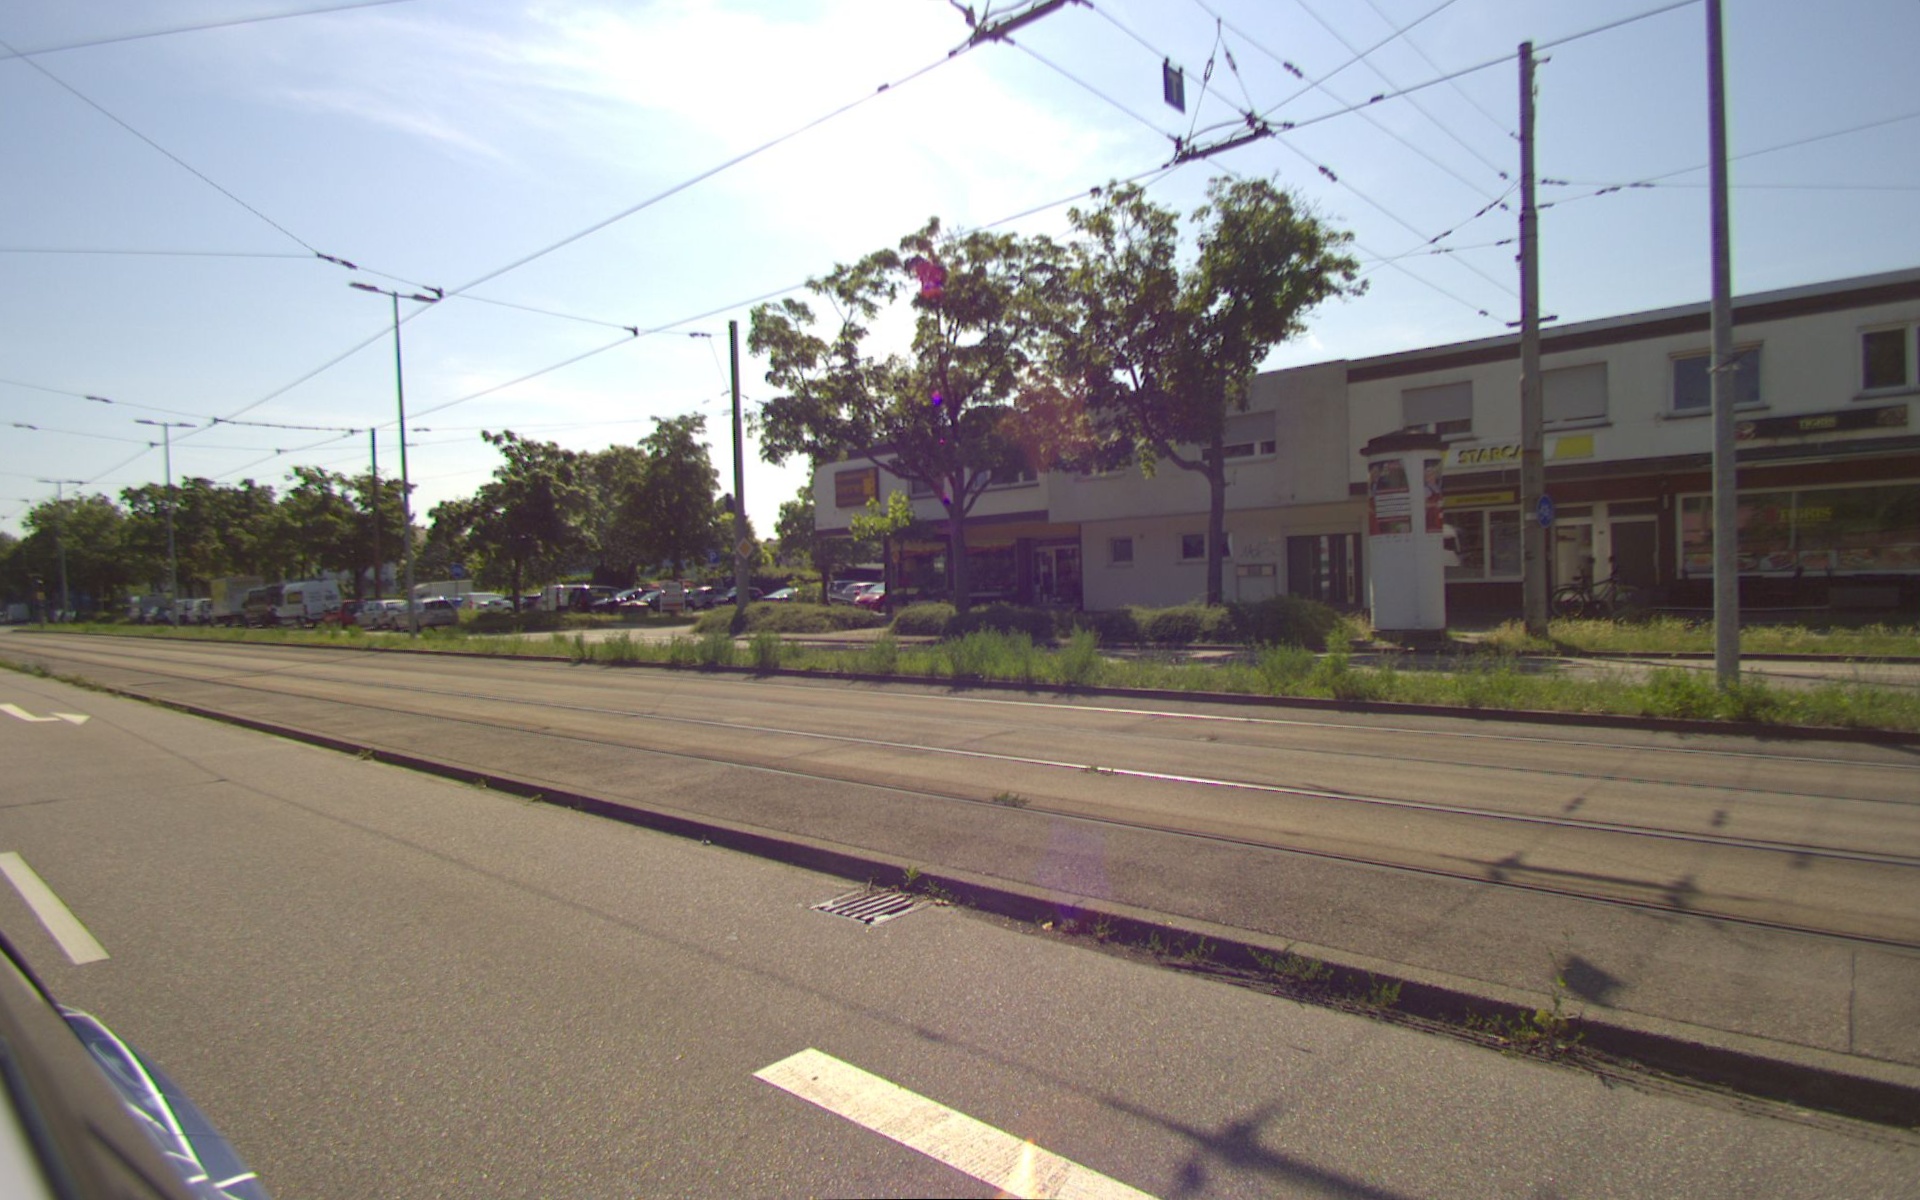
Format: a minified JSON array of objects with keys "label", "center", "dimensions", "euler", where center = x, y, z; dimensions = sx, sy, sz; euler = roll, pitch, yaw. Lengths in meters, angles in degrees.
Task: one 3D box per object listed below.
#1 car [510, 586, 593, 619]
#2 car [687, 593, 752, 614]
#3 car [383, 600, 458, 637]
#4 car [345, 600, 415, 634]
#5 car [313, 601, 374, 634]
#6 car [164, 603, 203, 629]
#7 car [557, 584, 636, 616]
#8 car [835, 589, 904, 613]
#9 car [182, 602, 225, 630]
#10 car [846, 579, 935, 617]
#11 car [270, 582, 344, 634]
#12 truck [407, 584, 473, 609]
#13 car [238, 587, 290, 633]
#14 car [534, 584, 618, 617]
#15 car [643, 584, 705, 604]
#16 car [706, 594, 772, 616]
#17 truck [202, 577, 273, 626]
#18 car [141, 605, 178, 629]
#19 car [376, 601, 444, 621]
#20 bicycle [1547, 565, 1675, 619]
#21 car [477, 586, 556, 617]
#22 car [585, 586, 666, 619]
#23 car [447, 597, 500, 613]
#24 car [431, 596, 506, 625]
[{"label":"car","center":[-24.028,0.137,59.672],"dimensions":[1.988,1.751,4.068],"euler":[-1,1,38]},{"label":"car","center":[-16.900,0.248,71.298],"dimensions":[1.676,1.345,4.197],"euler":[-1,1,42]},{"label":"car","center":[-25.308,0.860,47.425],"dimensions":[4.255,1.544,1.654],"euler":[-1,4,41]},{"label":"car","center":[-29.259,0.867,51.016],"dimensions":[4.255,1.544,1.654],"euler":[-1,4,41]},{"label":"car","center":[-33.146,0.936,54.373],"dimensions":[3.791,1.544,1.654],"euler":[-1,4,41]},{"label":"car","center":[-59.735,1.242,77.832],"dimensions":[4.056,1.859,1.484],"euler":[-1,4,40]},{"label":"car","center":[-20.253,0.001,56.498],"dimensions":[1.676,1.646,3.761],"euler":[-1,1,42]},{"label":"car","center":[-5.490,0.061,61.753],"dimensions":[1.676,1.345,4.197],"euler":[-1,1,42]},{"label":"car","center":[-54.707,1.158,73.176],"dimensions":[4.631,1.817,1.483],"euler":[-1,4,41]},{"label":"car","center":[-3.236,-0.114,47.987],"dimensions":[1.676,1.616,4.197],"euler":[-1,1,42]},{"label":"car","center":[-37.242,0.477,57.658],"dimensions":[5.201,2.673,2.036],"euler":[-1,4,41]},{"label":"truck","center":[-52.908,-0.347,103.028],"dimensions":[1.988,2.398,5.584],"euler":[-1,1,38]},{"label":"car","center":[-42.350,0.615,61.551],"dimensions":[4.005,2.643,1.483],"euler":[-1,4,41]},{"label":"car","center":[-22.053,0.001,58.191],"dimensions":[1.988,1.751,4.068],"euler":[-1,1,38]},{"label":"car","center":[-21.063,-0.441,74.730],"dimensions":[1.674,1.345,4.201],"euler":[-1,1,39]},{"label":"car","center":[-15.182,0.307,69.624],"dimensions":[1.676,1.345,4.197],"euler":[-1,1,42]},{"label":"truck","center":[-48.320,0.120,67.599],"dimensions":[5.902,2.956,2.476],"euler":[-1,4,42]},{"label":"car","center":[-64.394,1.392,81.374],"dimensions":[3.685,1.799,1.484],"euler":[-1,4,40]},{"label":"car","center":[-42.055,0.819,77.441],"dimensions":[1.676,1.345,4.198],"euler":[-1,1,41]},{"label":"bicycle","center":[14.694,-0.165,22.894],"dimensions":[2.333,1.161,0.779],"euler":[-1,-1,42]},{"label":"car","center":[-28.015,0.085,64.005],"dimensions":[1.988,1.751,4.068],"euler":[-1,1,38]},{"label":"car","center":[-17.952,0.114,54.436],"dimensions":[1.676,1.646,3.761],"euler":[-1,1,42]},{"label":"car","center":[-45.923,0.434,95.643],"dimensions":[1.676,1.345,4.198],"euler":[-1,1,41]},{"label":"car","center":[-33.288,0.713,68.425],"dimensions":[5.739,1.825,2.560],"euler":[-1,1,42]}]
